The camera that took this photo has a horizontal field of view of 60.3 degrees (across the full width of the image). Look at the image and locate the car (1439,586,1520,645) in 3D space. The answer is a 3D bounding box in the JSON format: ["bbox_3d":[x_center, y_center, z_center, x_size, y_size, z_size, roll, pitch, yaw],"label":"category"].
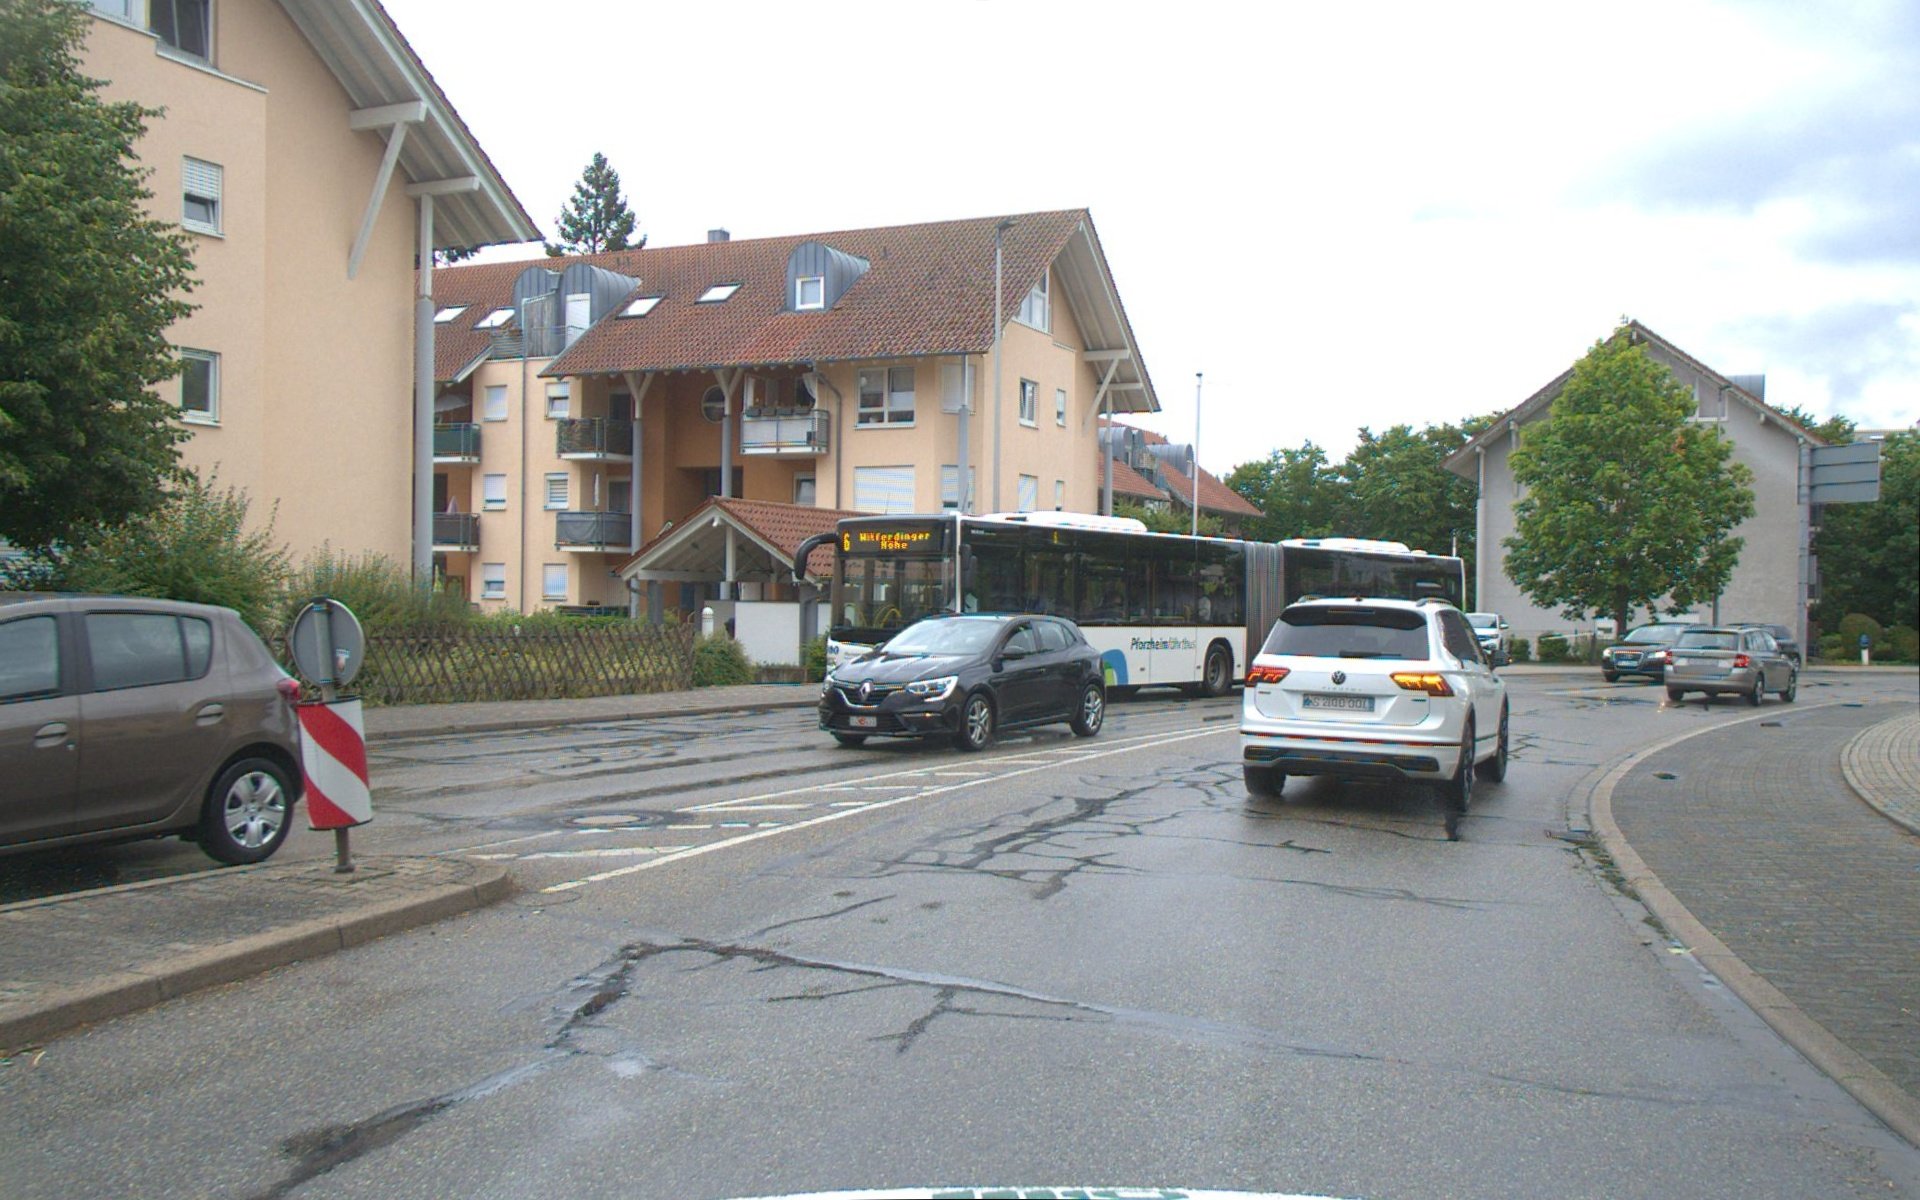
[{"bbox_3d":[16.560,0.512,52.626,1.954,1.680,3.997,2,-1,25],"label":"car"}]

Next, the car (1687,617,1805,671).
[{"bbox_3d":[22.695,1.253,47.725,3.654,1.447,1.572,0,0,-37],"label":"car"}]

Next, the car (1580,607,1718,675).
[{"bbox_3d":[16.922,0.973,40.531,1.832,1.545,4.266,-2,-1,42],"label":"car"}]

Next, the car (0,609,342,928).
[{"bbox_3d":[-5.291,0.814,8.404,1.786,1.513,3.935,-1,-1,24],"label":"car"}]

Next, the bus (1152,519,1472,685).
[{"bbox_3d":[7.519,0.034,34.359,2.549,3.053,8.351,-2,-1,43],"label":"bus"}]

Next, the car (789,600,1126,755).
[{"bbox_3d":[0.097,0.796,18.766,1.915,1.545,4.164,-1,-1,32],"label":"car"}]

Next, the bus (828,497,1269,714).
[{"bbox_3d":[1.847,0.075,27.642,2.506,3.053,9.161,-2,-1,38],"label":"bus"}]

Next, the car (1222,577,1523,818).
[{"bbox_3d":[3.772,0.729,14.558,1.882,1.752,4.263,1,0,23],"label":"car"}]

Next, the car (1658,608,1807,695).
[{"bbox_3d":[15.095,1.018,32.203,1.737,1.536,3.980,1,-2,38],"label":"car"}]
